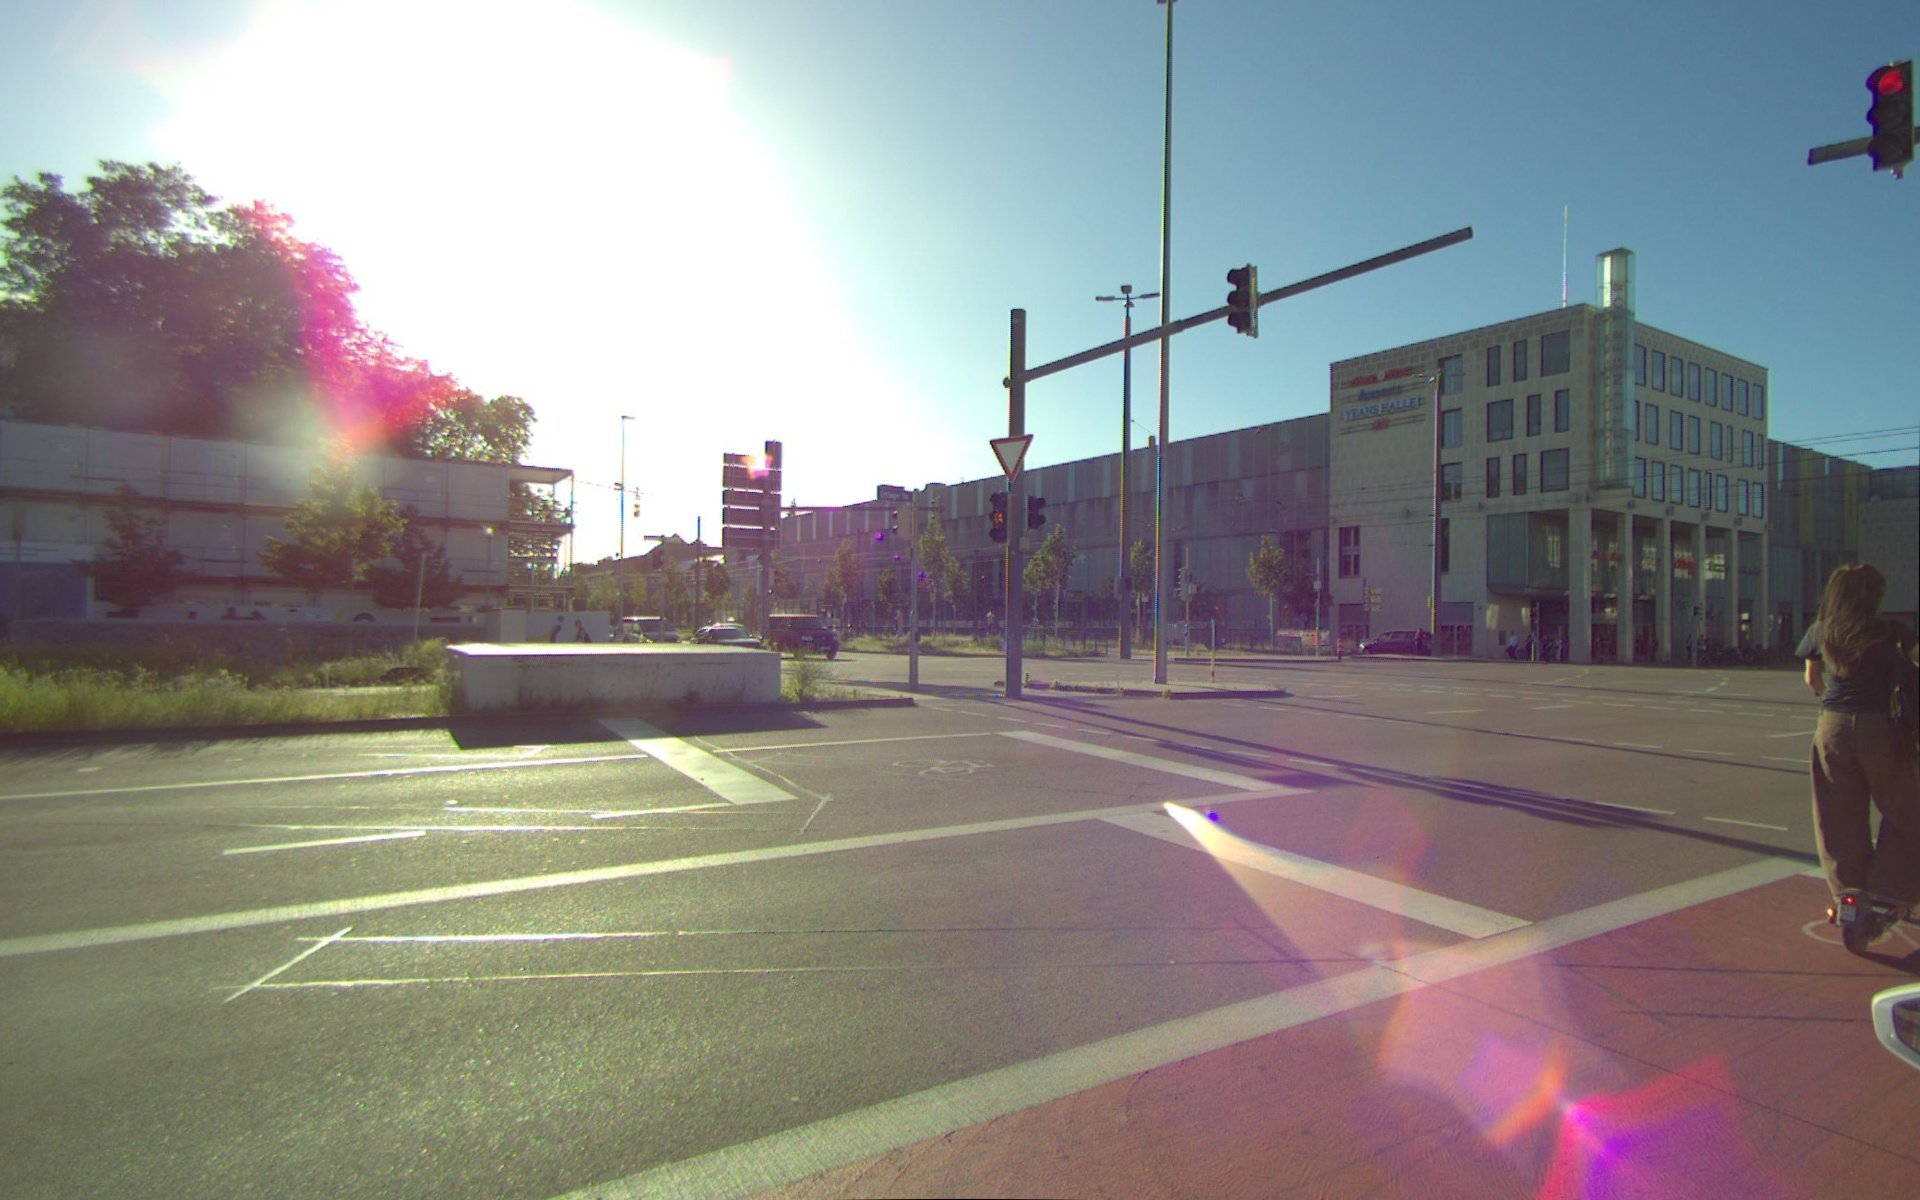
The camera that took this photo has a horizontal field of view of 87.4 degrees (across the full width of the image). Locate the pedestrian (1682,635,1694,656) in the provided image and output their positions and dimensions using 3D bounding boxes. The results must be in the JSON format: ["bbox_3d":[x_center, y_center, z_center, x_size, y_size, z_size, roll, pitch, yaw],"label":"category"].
[{"bbox_3d":[52.309,3.259,72.165,0.630,1.454,0.474,0,-1,38],"label":"pedestrian"}]

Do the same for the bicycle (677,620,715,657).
[{"bbox_3d":[-14.977,2.175,56.997,1.007,2.040,3.472,1,-2,-33],"label":"bicycle"}]

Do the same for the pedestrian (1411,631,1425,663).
[{"bbox_3d":[24.352,2.491,53.425,0.543,1.716,0.521,1,-1,-40],"label":"pedestrian"}]

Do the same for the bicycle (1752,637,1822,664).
[{"bbox_3d":[54.500,3.322,66.249,0.979,1.719,3.462,1,-2,-40],"label":"bicycle"}]

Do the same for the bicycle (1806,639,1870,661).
[{"bbox_3d":[64.501,3.647,73.848,0.979,1.547,3.462,2,-2,-40],"label":"bicycle"}]

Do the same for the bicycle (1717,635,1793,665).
[{"bbox_3d":[48.210,3.014,60.935,1.107,1.719,3.465,1,-2,-38],"label":"bicycle"}]

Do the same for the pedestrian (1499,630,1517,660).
[{"bbox_3d":[33.283,2.715,61.013,0.731,1.822,0.750,1,-1,-41],"label":"pedestrian"}]

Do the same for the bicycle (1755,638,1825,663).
[{"bbox_3d":[55.251,3.330,66.917,0.979,1.547,3.462,2,-2,-40],"label":"bicycle"}]

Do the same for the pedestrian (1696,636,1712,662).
[{"bbox_3d":[49.546,3.250,66.881,0.773,1.664,0.693,0,-1,32],"label":"pedestrian"}]

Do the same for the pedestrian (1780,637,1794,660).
[{"bbox_3d":[60.517,3.514,73.490,0.689,1.664,0.648,1,-1,-38],"label":"pedestrian"}]

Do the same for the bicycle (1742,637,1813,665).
[{"bbox_3d":[52.854,3.260,64.959,0.979,1.719,3.462,1,-2,-40],"label":"bicycle"}]

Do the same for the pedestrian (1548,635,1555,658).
[{"bbox_3d":[39.094,3.069,66.388,0.380,1.445,0.502,0,-1,27],"label":"pedestrian"}]

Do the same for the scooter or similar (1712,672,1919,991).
[{"bbox_3d":[4.396,0.986,4.782,1.645,1.218,0.725,1,-1,-30],"label":"scooter or similar"}]

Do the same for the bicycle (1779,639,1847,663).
[{"bbox_3d":[58.869,3.480,69.386,0.979,1.547,3.462,2,-2,-40],"label":"bicycle"}]

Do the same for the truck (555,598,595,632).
[{"bbox_3d":[-33.483,1.335,87.249,1.979,2.875,6.293,1,-2,-33],"label":"truck"}]

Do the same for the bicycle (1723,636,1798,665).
[{"bbox_3d":[49.139,3.081,61.736,1.107,1.719,3.465,1,-2,-38],"label":"bicycle"}]

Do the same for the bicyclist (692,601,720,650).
[{"bbox_3d":[-14.106,1.404,55.752,1.007,2.677,1.610,1,-1,-34],"label":"bicyclist"}]

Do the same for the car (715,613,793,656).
[{"bbox_3d":[-10.396,1.700,50.416,1.981,2.040,4.821,1,-2,-36],"label":"car"}]

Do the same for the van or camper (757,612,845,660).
[{"bbox_3d":[-7.271,1.596,45.554,1.981,2.040,4.821,1,-2,-36],"label":"van or camper"}]

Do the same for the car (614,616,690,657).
[{"bbox_3d":[-14.824,1.709,48.127,1.981,1.849,4.821,1,-2,-36],"label":"car"}]

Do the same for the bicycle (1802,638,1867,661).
[{"bbox_3d":[63.701,3.591,73.199,0.979,1.547,3.462,2,-2,-40],"label":"bicycle"}]

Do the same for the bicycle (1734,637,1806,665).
[{"bbox_3d":[51.115,3.191,63.421,0.979,1.719,3.462,1,-2,-40],"label":"bicycle"}]

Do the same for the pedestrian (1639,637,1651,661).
[{"bbox_3d":[44.945,3.218,65.899,0.508,1.530,0.479,1,-1,-34],"label":"pedestrian"}]

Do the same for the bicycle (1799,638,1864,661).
[{"bbox_3d":[62.661,3.525,72.249,0.979,1.547,3.462,2,-2,-40],"label":"bicycle"}]

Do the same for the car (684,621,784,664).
[{"bbox_3d":[-9.403,1.709,41.511,2.313,1.671,4.821,1,-2,-37],"label":"car"}]

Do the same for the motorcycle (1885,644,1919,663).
[{"bbox_3d":[70.742,4.018,75.080,0.713,1.335,2.260,1,-2,-34],"label":"motorcycle"}]

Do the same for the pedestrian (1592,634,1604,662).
[{"bbox_3d":[37.682,2.821,59.304,0.534,1.664,0.547,-1,-1,42],"label":"pedestrian"}]

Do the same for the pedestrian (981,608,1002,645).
[{"bbox_3d":[1.579,1.325,50.591,0.788,1.855,0.706,1,-1,-37],"label":"pedestrian"}]

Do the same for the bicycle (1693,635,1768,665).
[{"bbox_3d":[46.606,3.019,60.821,1.107,1.719,3.465,1,-2,-38],"label":"bicycle"}]

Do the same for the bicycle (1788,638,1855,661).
[{"bbox_3d":[60.377,3.435,70.467,0.979,1.547,3.462,2,-2,-40],"label":"bicycle"}]

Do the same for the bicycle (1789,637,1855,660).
[{"bbox_3d":[61.184,3.452,71.299,0.979,1.547,3.462,2,-2,-40],"label":"bicycle"}]

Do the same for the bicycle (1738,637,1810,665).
[{"bbox_3d":[51.941,3.228,64.155,0.979,1.719,3.462,1,-2,-40],"label":"bicycle"}]

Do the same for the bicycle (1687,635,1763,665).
[{"bbox_3d":[45.694,2.978,60.029,1.107,1.719,3.465,1,-2,-38],"label":"bicycle"}]

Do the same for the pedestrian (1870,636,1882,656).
[{"bbox_3d":[75.446,3.764,82.727,0.689,1.664,0.691,1,-1,-41],"label":"pedestrian"}]

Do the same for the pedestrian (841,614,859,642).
[{"bbox_3d":[-7.189,1.829,65.731,0.889,1.855,0.787,1,-1,-35],"label":"pedestrian"}]

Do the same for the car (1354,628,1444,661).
[{"bbox_3d":[25.188,2.522,57.769,1.976,1.629,4.445,1,0,-30],"label":"car"}]

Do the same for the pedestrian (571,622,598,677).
[{"bbox_3d":[-11.706,1.526,31.305,0.619,1.674,0.935,1,-1,-30],"label":"pedestrian"}]

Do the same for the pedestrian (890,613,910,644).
[{"bbox_3d":[-3.554,1.704,59.779,0.889,1.855,0.787,1,-1,-35],"label":"pedestrian"}]

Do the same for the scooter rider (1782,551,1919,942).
[{"bbox_3d":[4.692,0.681,4.974,0.801,1.798,0.725,1,-1,-30],"label":"scooter rider"}]

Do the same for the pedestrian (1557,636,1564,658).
[{"bbox_3d":[39.605,3.094,66.244,0.381,1.431,0.437,0,-1,32],"label":"pedestrian"}]

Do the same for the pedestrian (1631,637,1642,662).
[{"bbox_3d":[44.295,3.245,65.784,0.508,1.606,0.479,1,-1,-34],"label":"pedestrian"}]
